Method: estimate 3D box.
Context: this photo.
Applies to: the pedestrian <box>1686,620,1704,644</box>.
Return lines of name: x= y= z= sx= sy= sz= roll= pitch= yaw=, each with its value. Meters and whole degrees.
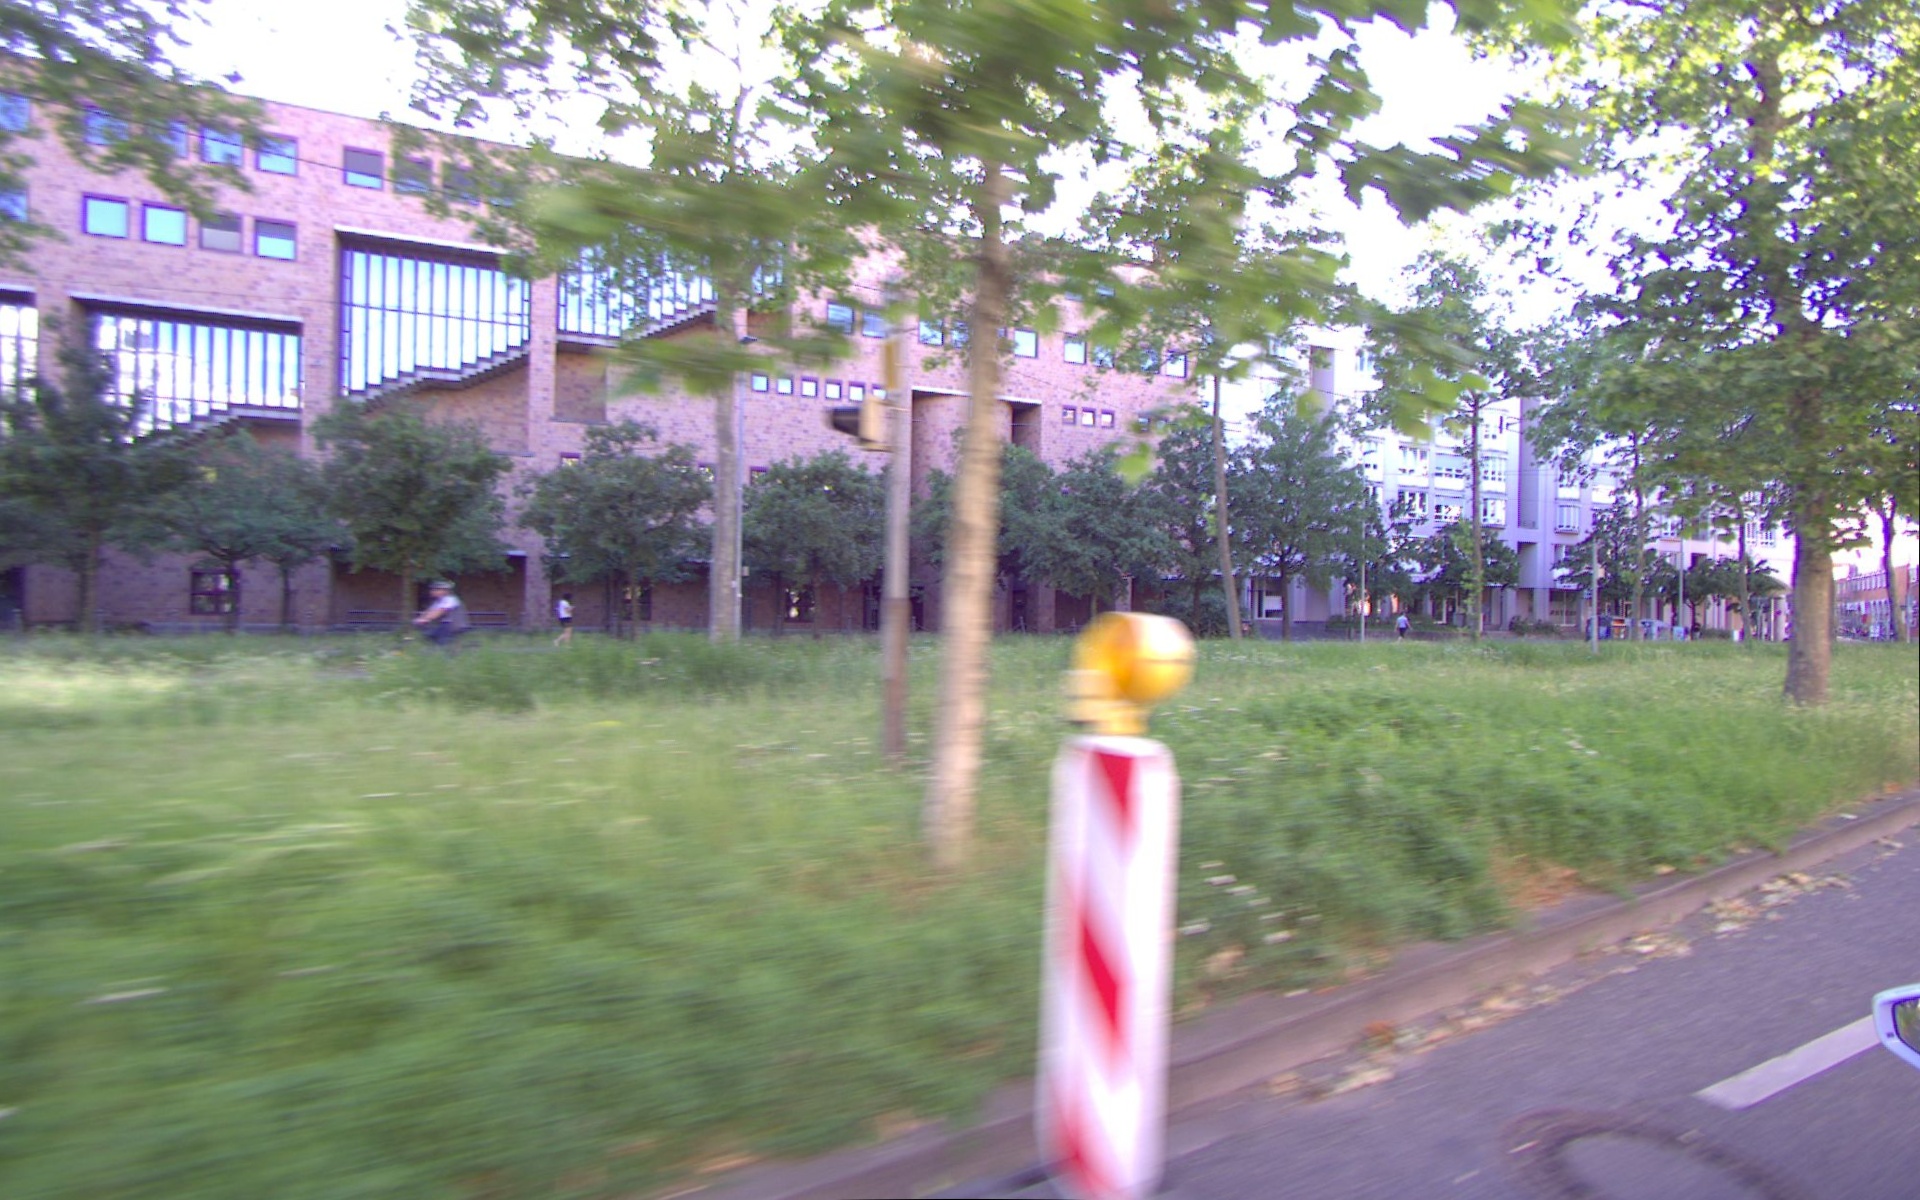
pedestrian: x=51.238 y=2.217 z=70.045 sx=0.777 sy=1.660 sz=0.705 roll=1 pitch=0 yaw=-22

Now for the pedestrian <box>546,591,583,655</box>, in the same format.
pedestrian: x=-11.784 y=0.672 z=29.924 sx=0.891 sy=1.856 sz=0.819 roll=1 pitch=0 yaw=-32

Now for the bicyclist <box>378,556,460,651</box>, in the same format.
bicyclist: x=-9.519 y=0.067 z=17.675 sx=1.196 sy=1.592 sz=0.936 roll=1 pitch=0 yaw=-33

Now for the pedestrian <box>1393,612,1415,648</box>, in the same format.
pedestrian: x=22.296 y=1.502 z=50.435 sx=0.640 sy=1.763 sz=0.725 roll=1 pitch=0 yaw=-30

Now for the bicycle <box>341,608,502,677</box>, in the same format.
bicycle: x=-9.460 y=0.744 z=17.689 sx=2.410 sy=1.141 sz=0.951 roll=2 pitch=-1 yaw=-33
